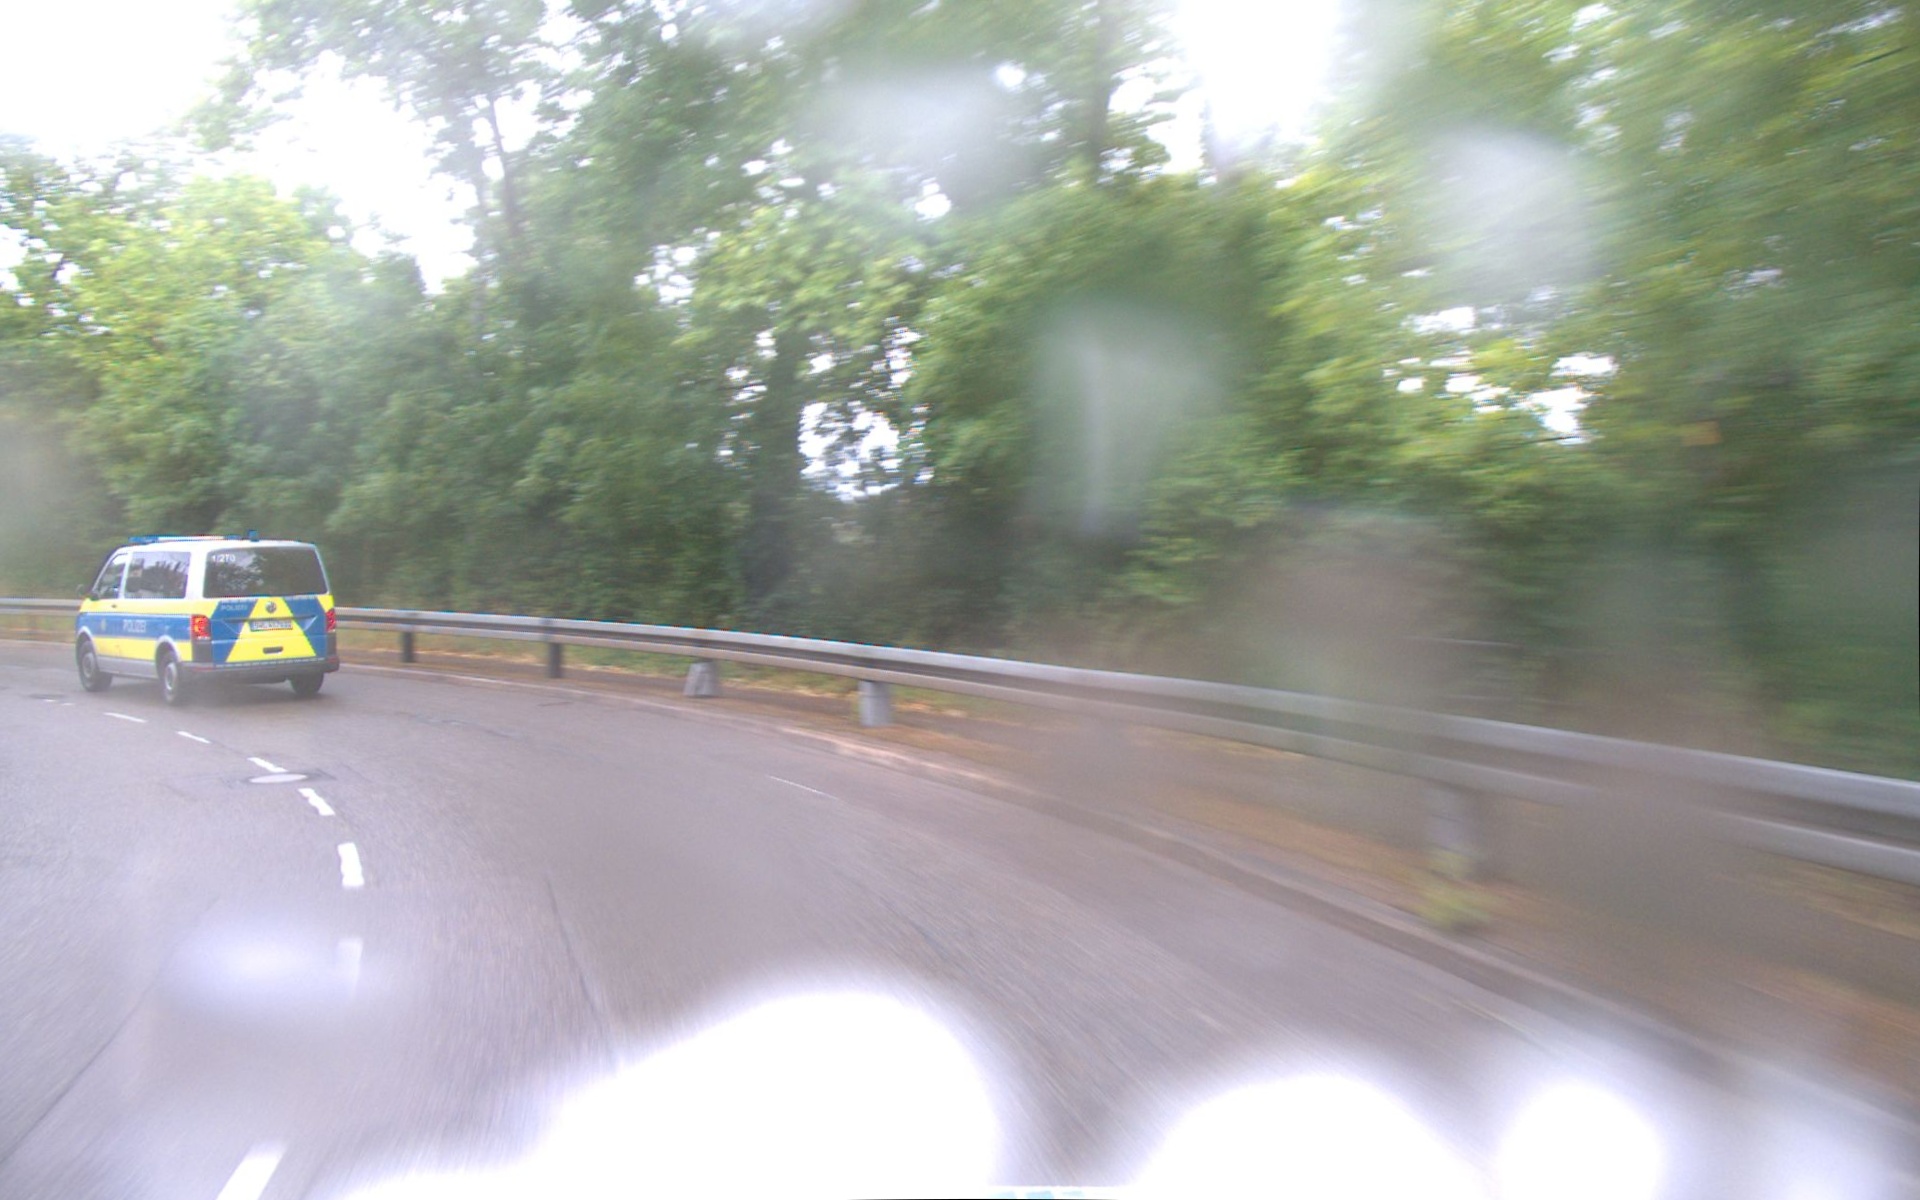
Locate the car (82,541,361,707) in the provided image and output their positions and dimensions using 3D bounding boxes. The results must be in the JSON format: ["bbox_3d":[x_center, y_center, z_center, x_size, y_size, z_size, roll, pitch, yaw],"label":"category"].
[{"bbox_3d":[-9.727,0.290,21.593,1.984,1.926,4.498,-1,0,-43],"label":"car"}]
